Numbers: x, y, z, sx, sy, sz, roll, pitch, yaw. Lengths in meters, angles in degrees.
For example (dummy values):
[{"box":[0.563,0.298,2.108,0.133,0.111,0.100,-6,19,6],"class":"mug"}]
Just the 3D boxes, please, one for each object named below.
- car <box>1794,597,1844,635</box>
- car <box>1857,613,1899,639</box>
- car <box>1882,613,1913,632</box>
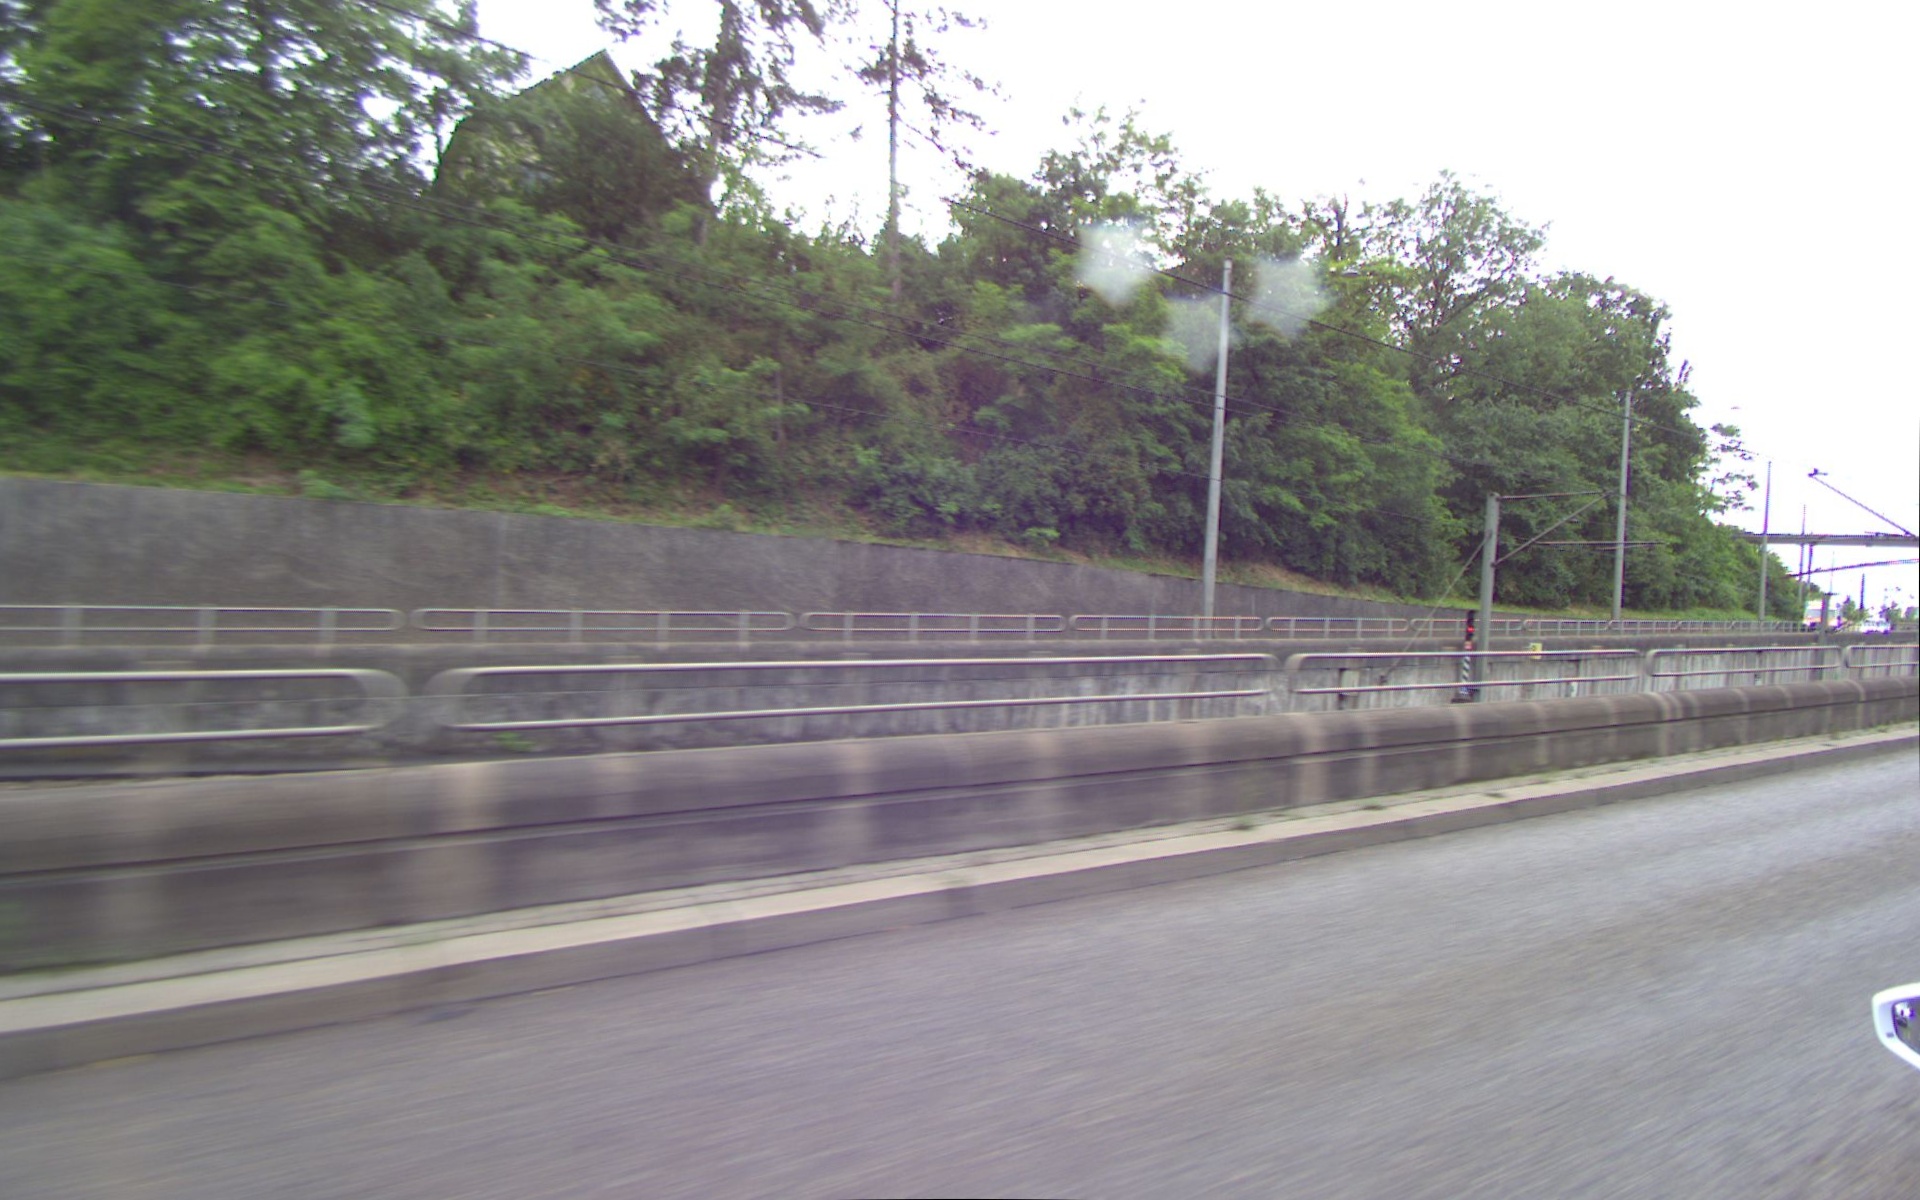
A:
[{"box":[66.210,1.267,77.378,6.297,2.771,2.163,2,-1,-42],"class":"car"},{"box":[64.873,1.839,70.974,4.080,1.726,1.801,2,-1,-42],"class":"car"},{"box":[89.892,2.149,96.343,4.112,1.773,1.942,2,-1,-43],"class":"car"}]
